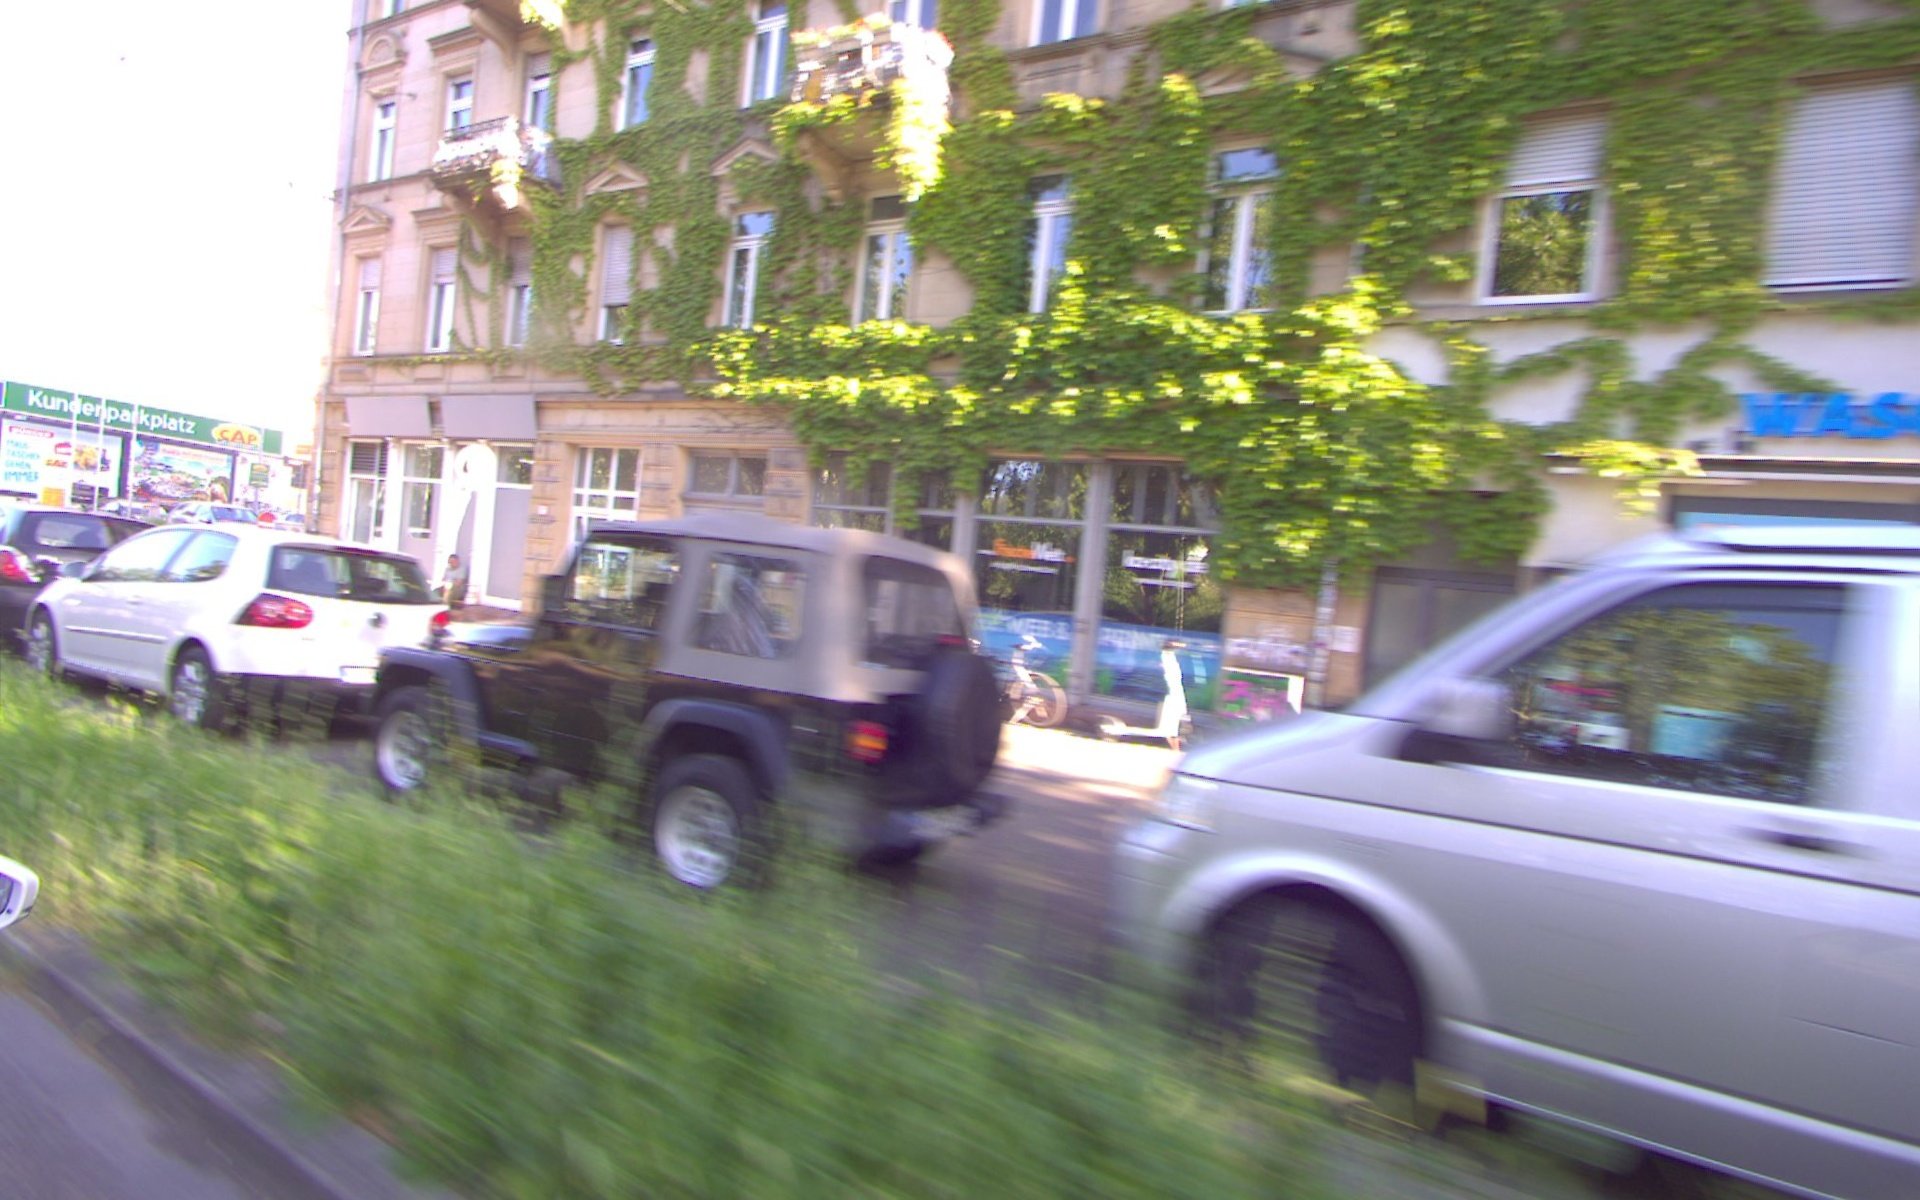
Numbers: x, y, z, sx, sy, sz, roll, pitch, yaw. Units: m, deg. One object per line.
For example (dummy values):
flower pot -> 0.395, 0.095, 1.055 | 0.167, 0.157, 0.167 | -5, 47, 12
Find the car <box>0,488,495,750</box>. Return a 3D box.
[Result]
car -> -5.912, 0.104, 8.195 | 3.932, 1.535, 1.743 | 6, -2, 29

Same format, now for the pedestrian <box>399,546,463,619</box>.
pedestrian -> -10.096, -0.324, 19.197 | 0.701, 1.276, 0.716 | 7, 0, 31

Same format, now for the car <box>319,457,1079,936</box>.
car -> -1.585, 0.288, 5.733 | 3.934, 1.786, 1.866 | 7, 1, 32

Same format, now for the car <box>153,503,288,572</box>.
car -> -23.067, -1.954, 31.377 | 3.930, 1.665, 1.748 | 6, 0, 27

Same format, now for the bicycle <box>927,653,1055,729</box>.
bicycle -> 0.374, 1.119, 12.552 | 1.487, 0.715, 0.468 | 7, 1, 31

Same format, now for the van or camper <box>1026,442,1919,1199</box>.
van or camper -> 2.941, 0.786, 2.922 | 5.009, 2.039, 1.886 | 7, 1, 30

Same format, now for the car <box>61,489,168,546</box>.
car -> -28.762, -2.811, 34.210 | 3.335, 1.504, 1.561 | 7, 1, 27

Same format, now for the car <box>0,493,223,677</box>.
car -> -9.600, -0.260, 10.358 | 3.932, 1.535, 1.645 | 6, -2, 29
